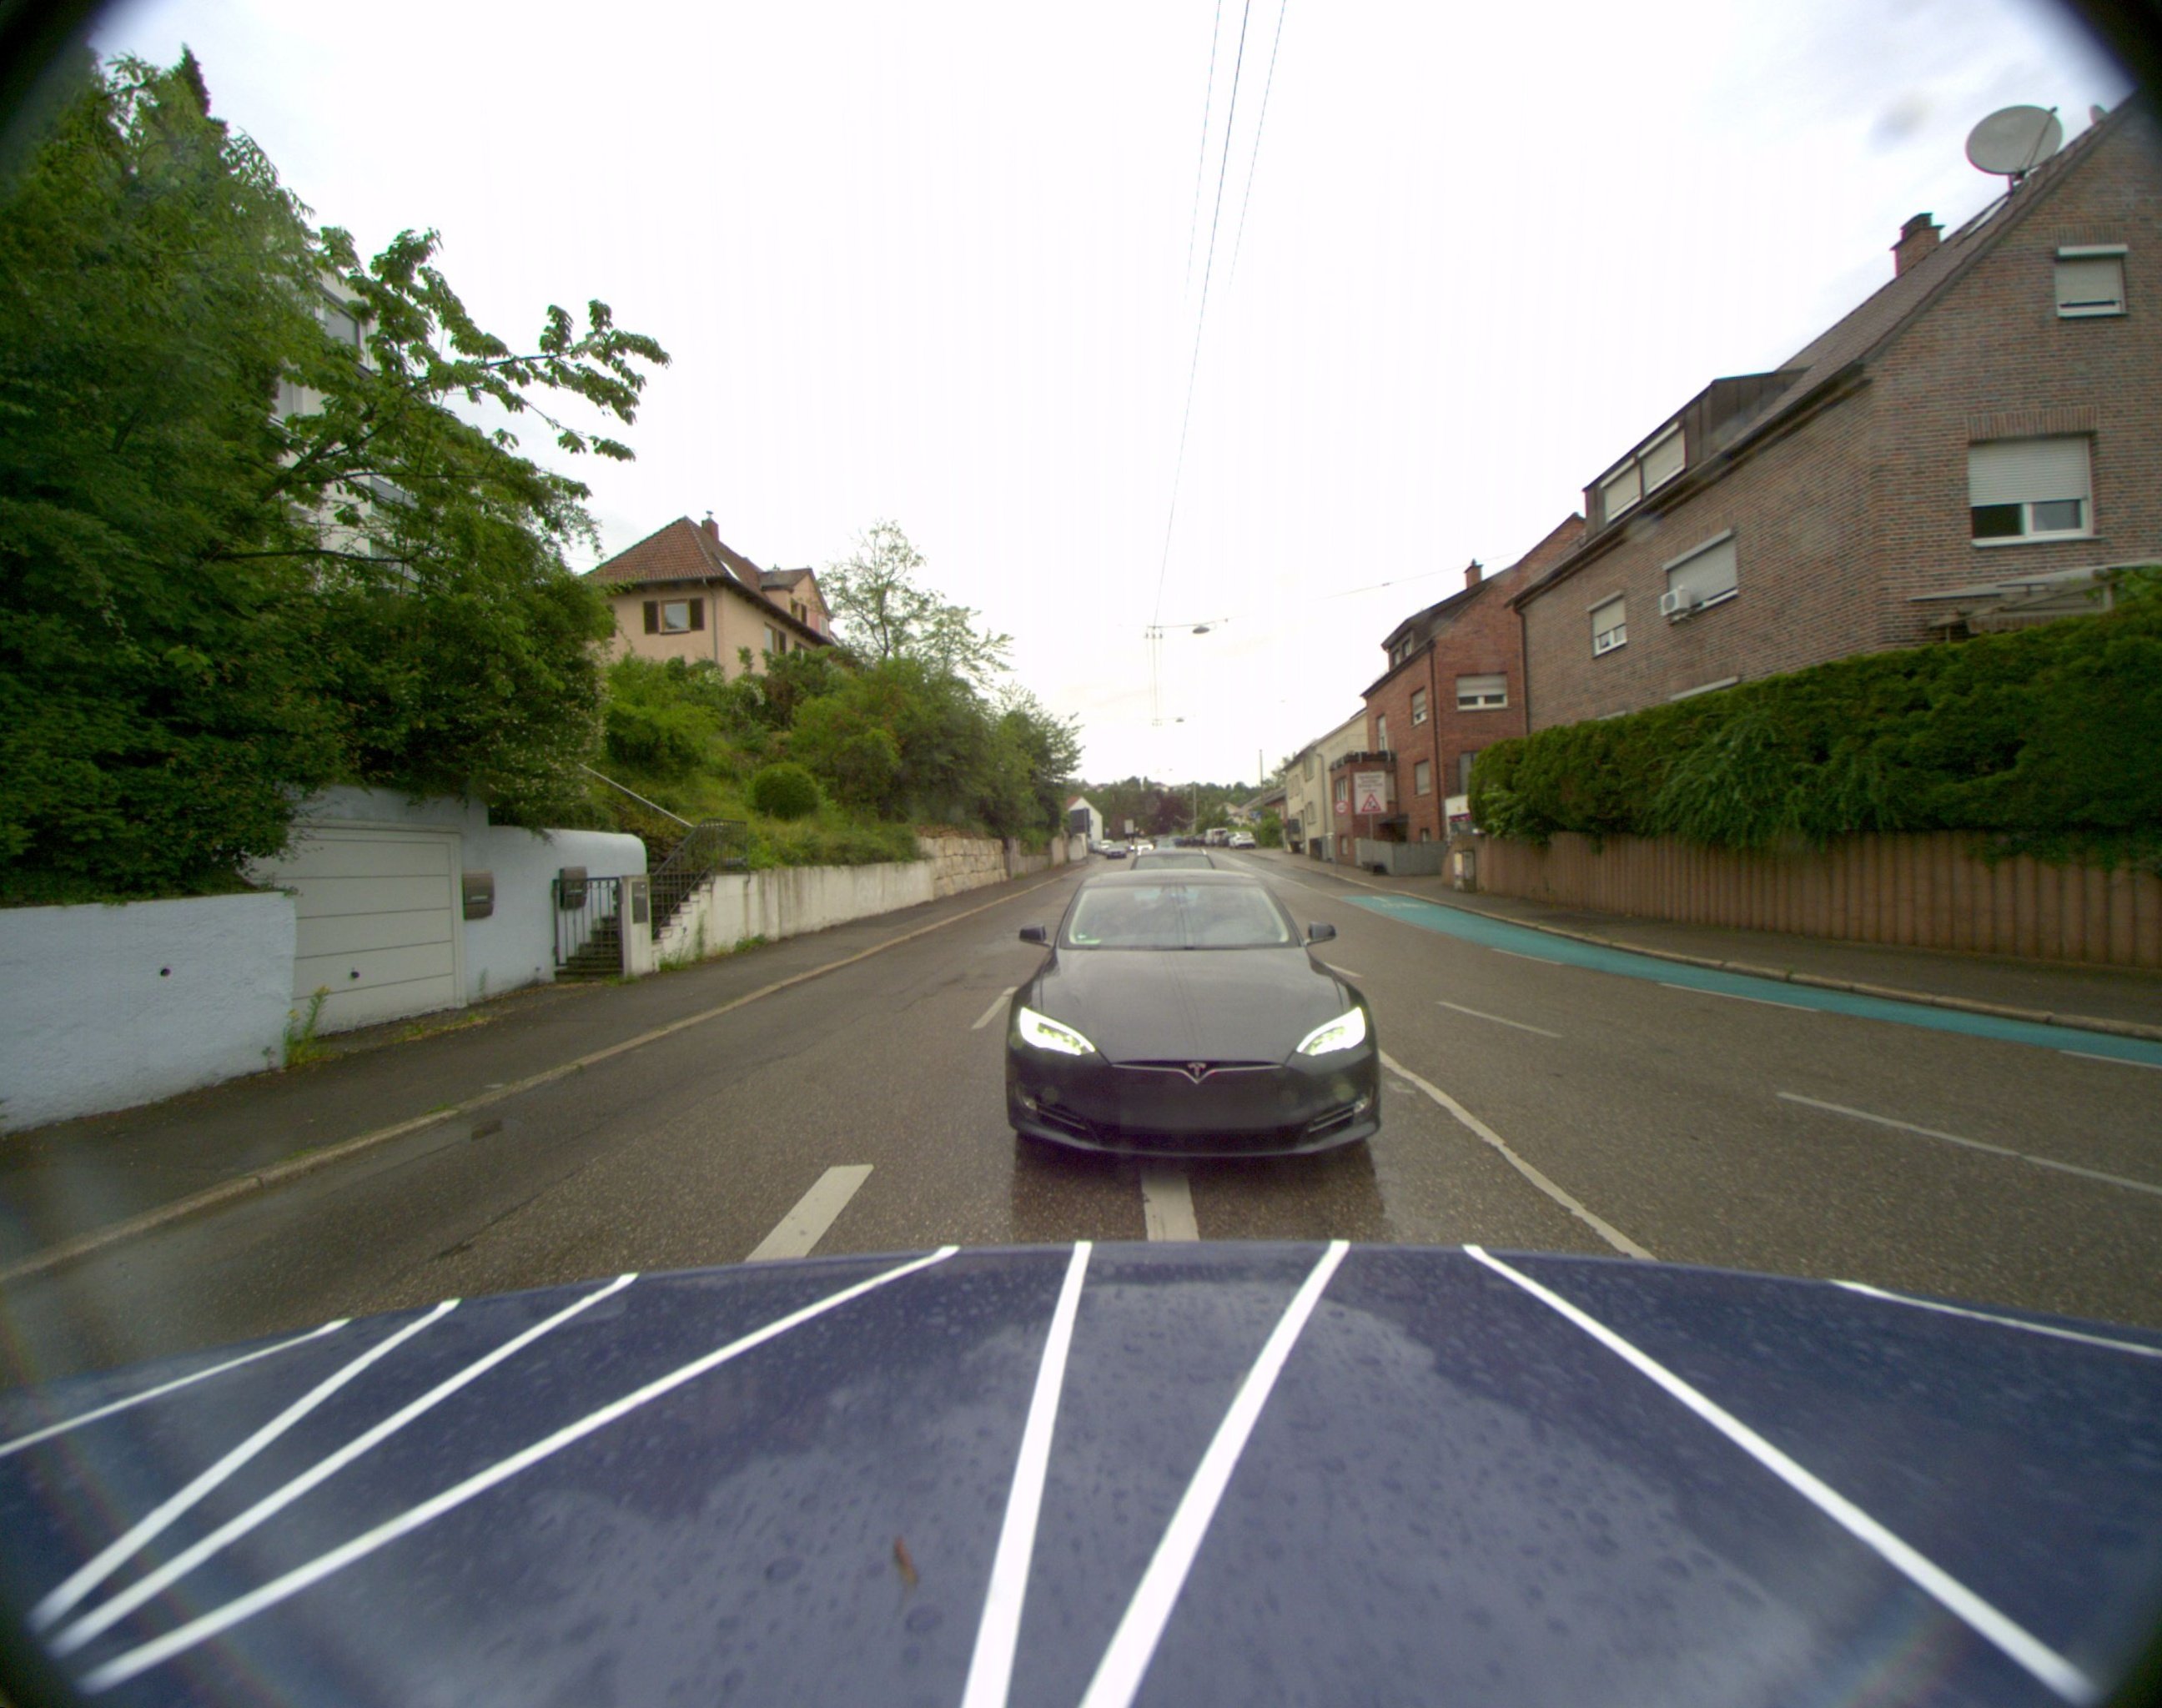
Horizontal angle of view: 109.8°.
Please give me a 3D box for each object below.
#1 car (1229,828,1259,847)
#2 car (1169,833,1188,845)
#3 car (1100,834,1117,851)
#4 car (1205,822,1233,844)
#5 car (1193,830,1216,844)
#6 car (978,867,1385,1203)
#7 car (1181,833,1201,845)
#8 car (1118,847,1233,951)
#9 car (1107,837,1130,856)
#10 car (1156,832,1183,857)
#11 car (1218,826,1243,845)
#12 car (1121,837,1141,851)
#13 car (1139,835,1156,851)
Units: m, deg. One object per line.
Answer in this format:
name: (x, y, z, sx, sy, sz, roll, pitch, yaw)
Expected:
car: (15.354, -1.560, 71.964, 1.946, 1.557, 4.263, -4, 1, 2)
car: (13.165, -1.973, 102.638, 1.624, 1.482, 3.901, -4, 1, -4)
car: (3.184, -1.322, 89.038, 1.820, 1.855, 4.038, -2, 2, -1)
car: (15.612, -2.341, 86.142, 2.257, 2.273, 4.546, -4, 1, 0)
car: (14.830, -2.028, 91.490, 1.654, 1.482, 4.009, -4, 1, -6)
car: (0.611, 0.905, 5.576, 1.870, 1.407, 4.000, -2, 1, 4)
car: (14.141, -1.872, 97.464, 1.654, 1.388, 3.859, -4, 1, -4)
car: (1.654, 0.705, 14.102, 1.789, 1.580, 3.784, -2, 1, 4)
car: (3.643, -0.691, 73.171, 2.002, 1.596, 4.360, -2, -1, 4)
car: (6.639, -0.666, 57.240, 1.816, 1.720, 4.002, -2, -1, 4)
car: (15.723, -1.911, 80.112, 1.814, 1.793, 4.263, -4, 1, 2)
car: (6.193, -1.237, 93.912, 1.999, 1.615, 3.998, -2, 1, -3)
car: (7.064, -1.133, 80.865, 1.737, 1.493, 3.883, -2, -1, 4)
